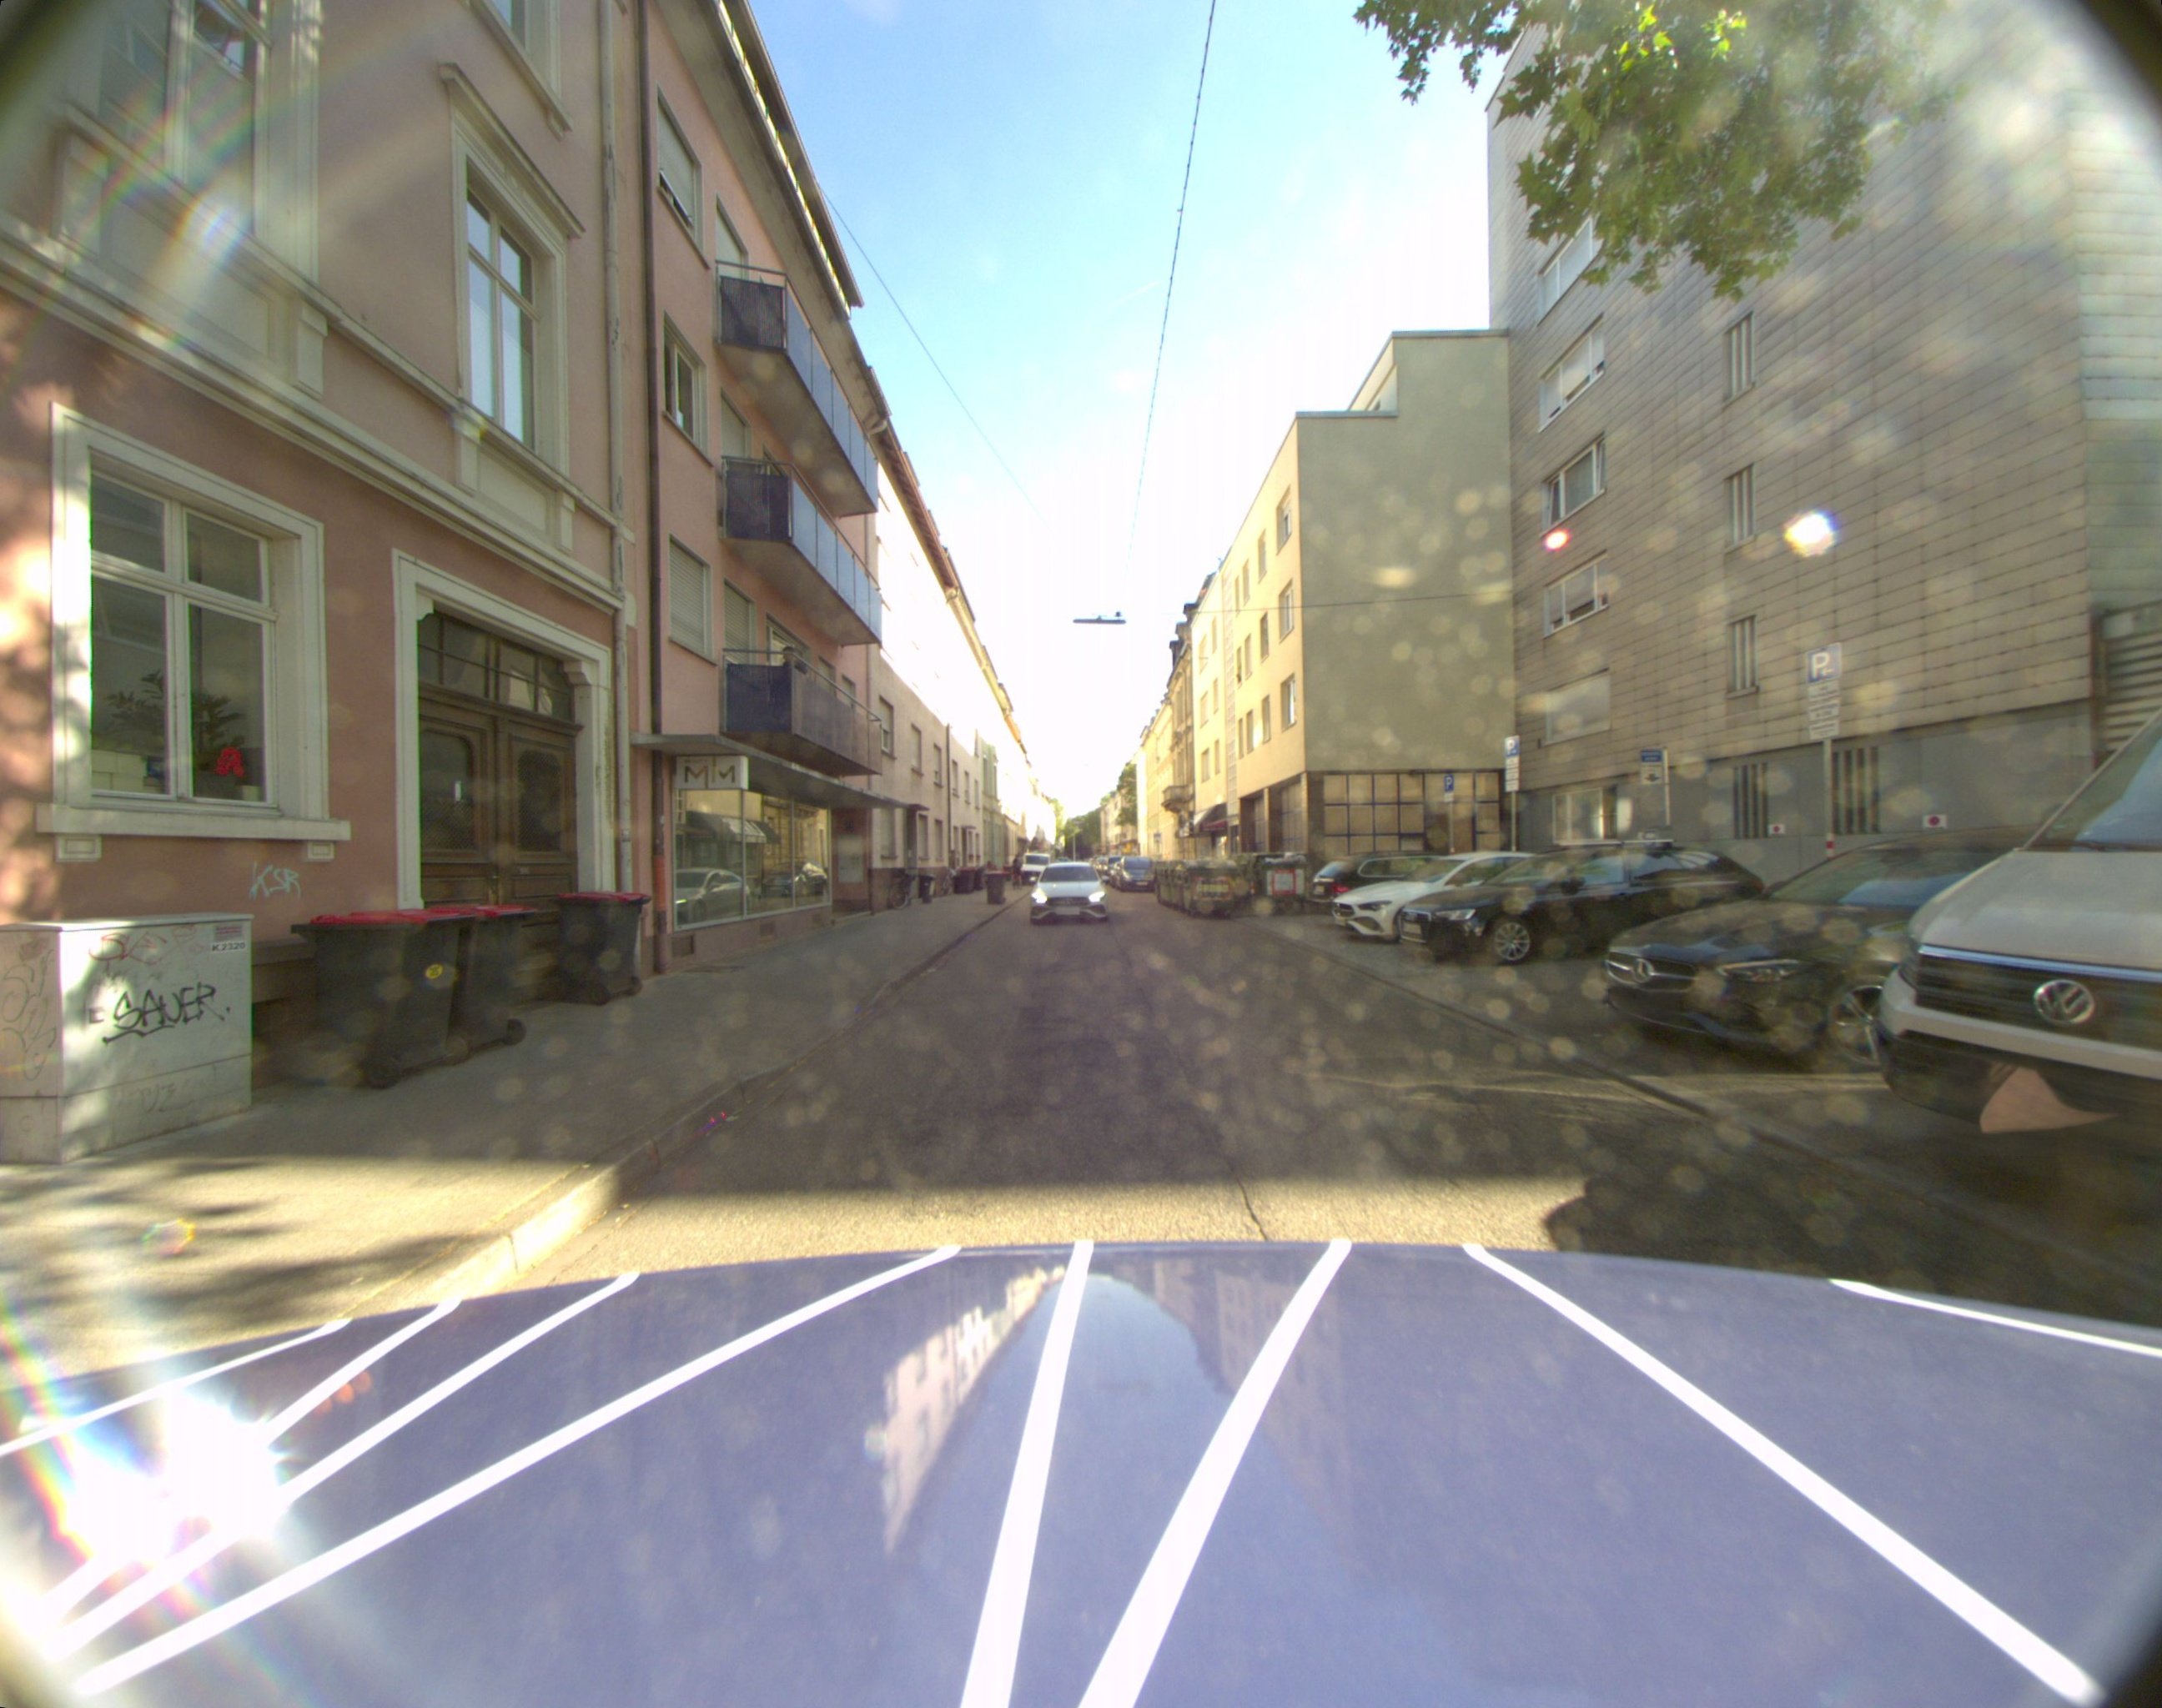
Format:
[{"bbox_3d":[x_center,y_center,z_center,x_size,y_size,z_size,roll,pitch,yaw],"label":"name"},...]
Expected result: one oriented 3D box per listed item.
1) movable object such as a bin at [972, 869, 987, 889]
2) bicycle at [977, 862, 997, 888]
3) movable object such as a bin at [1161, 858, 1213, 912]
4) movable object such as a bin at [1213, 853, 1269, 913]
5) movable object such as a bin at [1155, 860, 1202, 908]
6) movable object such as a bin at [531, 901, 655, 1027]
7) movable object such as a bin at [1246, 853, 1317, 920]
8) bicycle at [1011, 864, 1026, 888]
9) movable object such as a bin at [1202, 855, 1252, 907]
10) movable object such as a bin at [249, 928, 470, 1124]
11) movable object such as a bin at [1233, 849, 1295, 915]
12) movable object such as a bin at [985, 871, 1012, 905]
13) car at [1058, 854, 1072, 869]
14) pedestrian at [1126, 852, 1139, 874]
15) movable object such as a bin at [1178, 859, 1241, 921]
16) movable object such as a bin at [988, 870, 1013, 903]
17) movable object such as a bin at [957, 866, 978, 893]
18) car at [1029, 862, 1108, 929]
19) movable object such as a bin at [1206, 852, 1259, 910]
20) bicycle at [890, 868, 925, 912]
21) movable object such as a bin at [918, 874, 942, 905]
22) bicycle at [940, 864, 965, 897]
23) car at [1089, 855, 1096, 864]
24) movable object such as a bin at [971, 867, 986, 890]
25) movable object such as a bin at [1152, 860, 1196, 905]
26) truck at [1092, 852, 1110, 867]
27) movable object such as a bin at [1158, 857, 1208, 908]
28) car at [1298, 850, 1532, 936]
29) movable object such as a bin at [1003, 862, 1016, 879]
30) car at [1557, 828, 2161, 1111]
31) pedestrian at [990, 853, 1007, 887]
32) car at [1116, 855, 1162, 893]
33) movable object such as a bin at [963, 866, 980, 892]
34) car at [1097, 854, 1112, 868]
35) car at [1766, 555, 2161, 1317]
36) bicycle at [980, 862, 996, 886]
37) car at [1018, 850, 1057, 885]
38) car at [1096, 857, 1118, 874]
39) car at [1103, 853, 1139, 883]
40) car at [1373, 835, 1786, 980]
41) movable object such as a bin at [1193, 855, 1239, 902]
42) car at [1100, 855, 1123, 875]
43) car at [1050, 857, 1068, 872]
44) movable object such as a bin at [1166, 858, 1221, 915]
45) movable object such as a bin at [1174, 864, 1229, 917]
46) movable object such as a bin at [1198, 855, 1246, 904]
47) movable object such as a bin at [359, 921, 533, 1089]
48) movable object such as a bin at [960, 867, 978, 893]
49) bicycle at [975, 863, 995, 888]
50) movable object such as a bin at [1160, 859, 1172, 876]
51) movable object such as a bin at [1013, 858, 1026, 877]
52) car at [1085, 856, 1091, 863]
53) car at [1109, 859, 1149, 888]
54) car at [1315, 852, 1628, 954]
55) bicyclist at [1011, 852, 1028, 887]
[{"bbox_3d":[-4.815,1.170,36.107,0.578,0.919,0.607,2,0,0],"label":"movable object such as a bin"},{"bbox_3d":[-4.732,1.039,38.463,0.438,1.199,2.267,-1,1,7],"label":"bicycle"},{"bbox_3d":[3.078,0.874,22.176,1.346,1.490,1.018,-2,1,0],"label":"movable object such as a bin"},{"bbox_3d":[4.431,0.784,21.124,1.292,1.595,1.082,-2,1,0],"label":"movable object such as a bin"},{"bbox_3d":[3.084,0.929,24.257,1.337,1.476,1.093,0,1,0],"label":"movable object such as a bin"},{"bbox_3d":[-4.680,1.037,7.330,0.731,1.097,0.693,-1,1,-2],"label":"movable object such as a bin"},{"bbox_3d":[4.904,0.771,18.698,1.357,1.540,1.120,-2,1,-6],"label":"movable object such as a bin"},{"bbox_3d":[-3.123,1.104,38.083,0.665,1.130,1.988,2,-1,-2],"label":"bicycle"},{"bbox_3d":[4.436,0.810,23.191,1.305,1.514,1.018,-2,1,0],"label":"movable object such as a bin"},{"bbox_3d":[-4.467,1.037,4.753,0.747,1.080,0.634,-1,1,2],"label":"movable object such as a bin"},{"bbox_3d":[4.760,0.714,19.855,1.231,1.643,1.173,-2,1,-6],"label":"movable object such as a bin"},{"bbox_3d":[-2.704,1.096,24.854,0.770,1.080,0.693,-1,1,1],"label":"movable object such as a bin"},{"bbox_3d":[-2.277,1.019,108.870,1.975,2.017,4.898,-2,0,-1],"label":"car"},{"bbox_3d":[4.305,0.721,63.634,0.913,1.822,1.245,-1,1,0],"label":"pedestrian"},{"bbox_3d":[3.182,0.868,18.918,1.304,1.442,1.117,-2,1,-4],"label":"movable object such as a bin"},{"bbox_3d":[-2.714,1.096,25.567,0.734,1.074,0.703,-1,1,1],"label":"movable object such as a bin"},{"bbox_3d":[-4.716,1.050,31.552,0.740,1.091,0.640,2,1,1],"label":"movable object such as a bin"},{"bbox_3d":[-0.281,0.955,19.071,1.761,1.399,4.021,-1,1,0],"label":"car"},{"bbox_3d":[4.411,0.768,22.188,1.297,1.611,1.018,-2,1,0],"label":"movable object such as a bin"},{"bbox_3d":[-4.813,0.973,21.139,0.454,1.127,1.920,1,0,2],"label":"bicycle"},{"bbox_3d":[-4.731,1.104,23.880,0.599,0.946,0.682,-1,1,1],"label":"movable object such as a bin"},{"bbox_3d":[-4.851,0.997,28.758,0.538,1.163,2.076,3,0,-1],"label":"bicycle"},{"bbox_3d":[2.741,1.348,179.373,1.585,1.971,4.068,-1,1,0],"label":"car"},{"bbox_3d":[-4.790,1.125,35.497,0.617,1.056,0.603,1,0,0],"label":"movable object such as a bin"},{"bbox_3d":[3.084,0.943,25.431,1.323,1.442,1.187,0,1,0],"label":"movable object such as a bin"},{"bbox_3d":[3.159,0.818,121.783,2.171,2.295,6.344,0,0,-6],"label":"truck"},{"bbox_3d":[3.094,0.861,23.211,1.352,1.478,1.003,-2,1,0],"label":"movable object such as a bin"},{"bbox_3d":[6.581,0.732,15.270,3.885,1.496,1.826,-2,1,-1],"label":"car"},{"bbox_3d":[-4.761,1.119,50.628,0.814,1.082,0.674,-1,1,2],"label":"movable object such as a bin"},{"bbox_3d":[6.397,0.683,5.577,4.511,1.462,1.929,-4,0,1],"label":"car"},{"bbox_3d":[-4.169,0.804,38.406,0.656,1.701,0.687,-1,1,12],"label":"pedestrian"},{"bbox_3d":[2.640,0.865,35.667,1.787,1.657,4.670,0,0,0],"label":"car"},{"bbox_3d":[-4.719,1.070,32.709,0.629,1.116,0.569,-1,1,1],"label":"movable object such as a bin"},{"bbox_3d":[3.201,0.980,104.415,1.771,1.887,4.808,1,0,-1],"label":"car"},{"bbox_3d":[6.951,0.061,2.772,6.755,2.540,2.145,-4,1,2],"label":"car"},{"bbox_3d":[-4.856,1.029,39.798,0.406,1.199,2.160,-1,1,3],"label":"bicycle"},{"bbox_3d":[-2.526,0.785,45.595,1.988,1.872,5.599,3,0,0],"label":"car"},{"bbox_3d":[2.314,1.025,68.787,1.718,1.479,4.851,2,0,-1],"label":"car"},{"bbox_3d":[2.382,0.836,46.846,1.941,1.726,5.142,0,0,0],"label":"car"},{"bbox_3d":[6.681,0.661,10.525,4.478,1.600,1.915,-3,1,-3],"label":"car"},{"bbox_3d":[4.488,0.790,25.426,1.300,1.489,1.178,-2,1,0],"label":"movable object such as a bin"},{"bbox_3d":[2.464,0.902,62.927,1.748,1.605,4.603,0,0,1],"label":"car"},{"bbox_3d":[-2.455,1.131,83.916,1.805,1.570,4.897,-2,0,0],"label":"car"},{"bbox_3d":[3.099,0.889,21.108,1.338,1.482,1.082,-2,1,0],"label":"movable object such as a bin"},{"bbox_3d":[3.151,0.950,20.017,1.244,1.314,1.045,-2,1,0],"label":"movable object such as a bin"},{"bbox_3d":[4.483,0.798,24.268,1.309,1.490,1.157,-2,1,0],"label":"movable object such as a bin"},{"bbox_3d":[-4.467,1.039,5.385,0.703,1.067,0.596,-1,1,2],"label":"movable object such as a bin"},{"bbox_3d":[-4.731,1.101,32.148,0.658,1.098,0.593,-1,0,1],"label":"movable object such as a bin"},{"bbox_3d":[-4.717,1.058,37.374,0.570,1.147,1.868,-1,1,5],"label":"bicycle"},{"bbox_3d":[5.901,0.930,52.830,0.721,1.125,0.584,-1,1,-4],"label":"movable object such as a bin"},{"bbox_3d":[-4.687,1.001,57.892,0.839,1.382,1.296,1,2,-1],"label":"movable object such as a bin"},{"bbox_3d":[1.896,1.465,209.014,1.786,1.674,4.021,-1,1,0],"label":"car"},{"bbox_3d":[2.545,1.005,41.049,1.850,1.409,4.817,1,1,0],"label":"car"},{"bbox_3d":[6.523,0.774,13.055,4.353,1.417,1.957,-3,1,-1],"label":"car"},{"bbox_3d":[-3.101,0.781,38.178,0.762,1.760,0.822,1,-1,-2],"label":"bicyclist"}]
